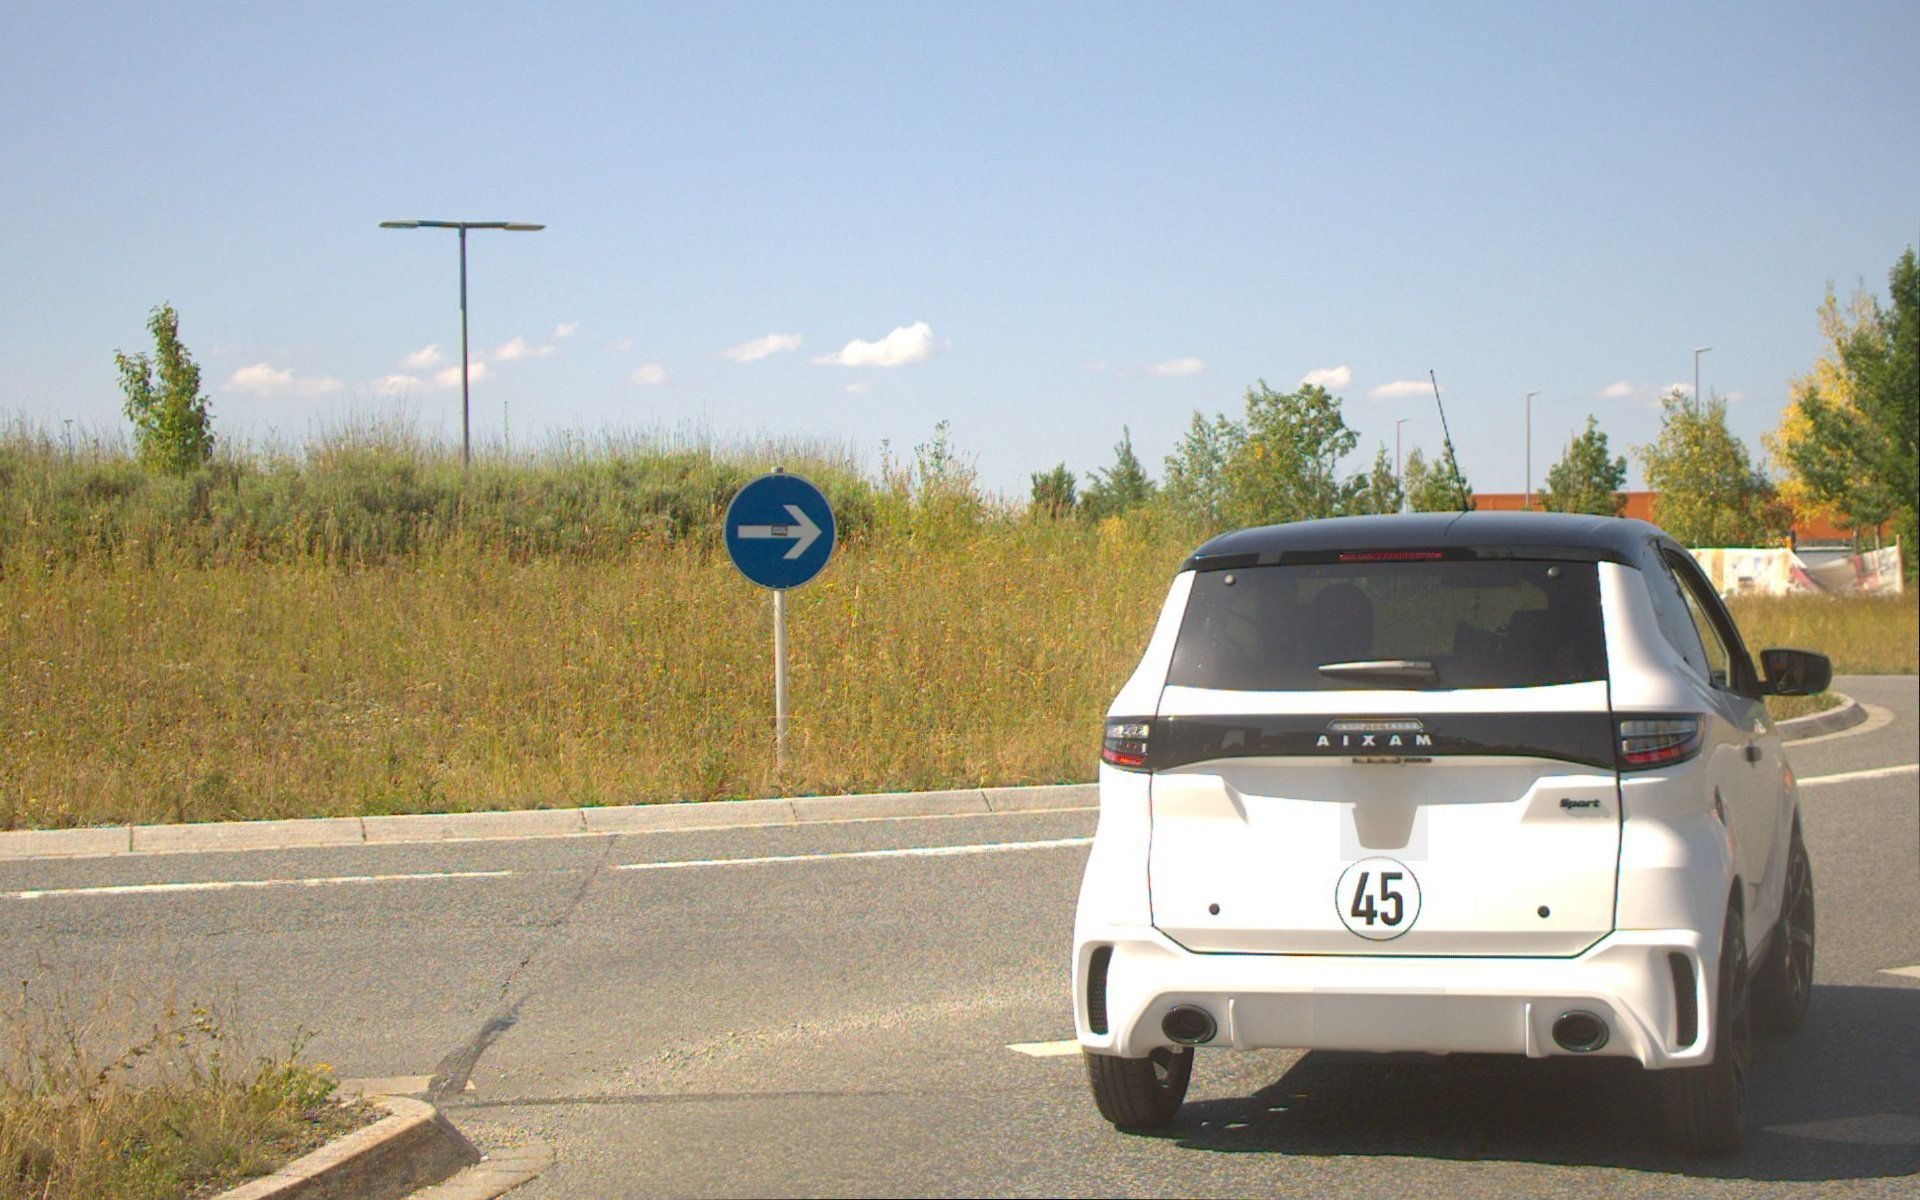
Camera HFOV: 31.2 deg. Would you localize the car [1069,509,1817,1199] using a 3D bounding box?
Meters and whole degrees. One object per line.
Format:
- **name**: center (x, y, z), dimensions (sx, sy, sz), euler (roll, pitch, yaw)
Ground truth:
- **car**: center (1.430, 0.503, 9.094), dimensions (1.510, 1.435, 3.349), euler (0, 2, 16)
